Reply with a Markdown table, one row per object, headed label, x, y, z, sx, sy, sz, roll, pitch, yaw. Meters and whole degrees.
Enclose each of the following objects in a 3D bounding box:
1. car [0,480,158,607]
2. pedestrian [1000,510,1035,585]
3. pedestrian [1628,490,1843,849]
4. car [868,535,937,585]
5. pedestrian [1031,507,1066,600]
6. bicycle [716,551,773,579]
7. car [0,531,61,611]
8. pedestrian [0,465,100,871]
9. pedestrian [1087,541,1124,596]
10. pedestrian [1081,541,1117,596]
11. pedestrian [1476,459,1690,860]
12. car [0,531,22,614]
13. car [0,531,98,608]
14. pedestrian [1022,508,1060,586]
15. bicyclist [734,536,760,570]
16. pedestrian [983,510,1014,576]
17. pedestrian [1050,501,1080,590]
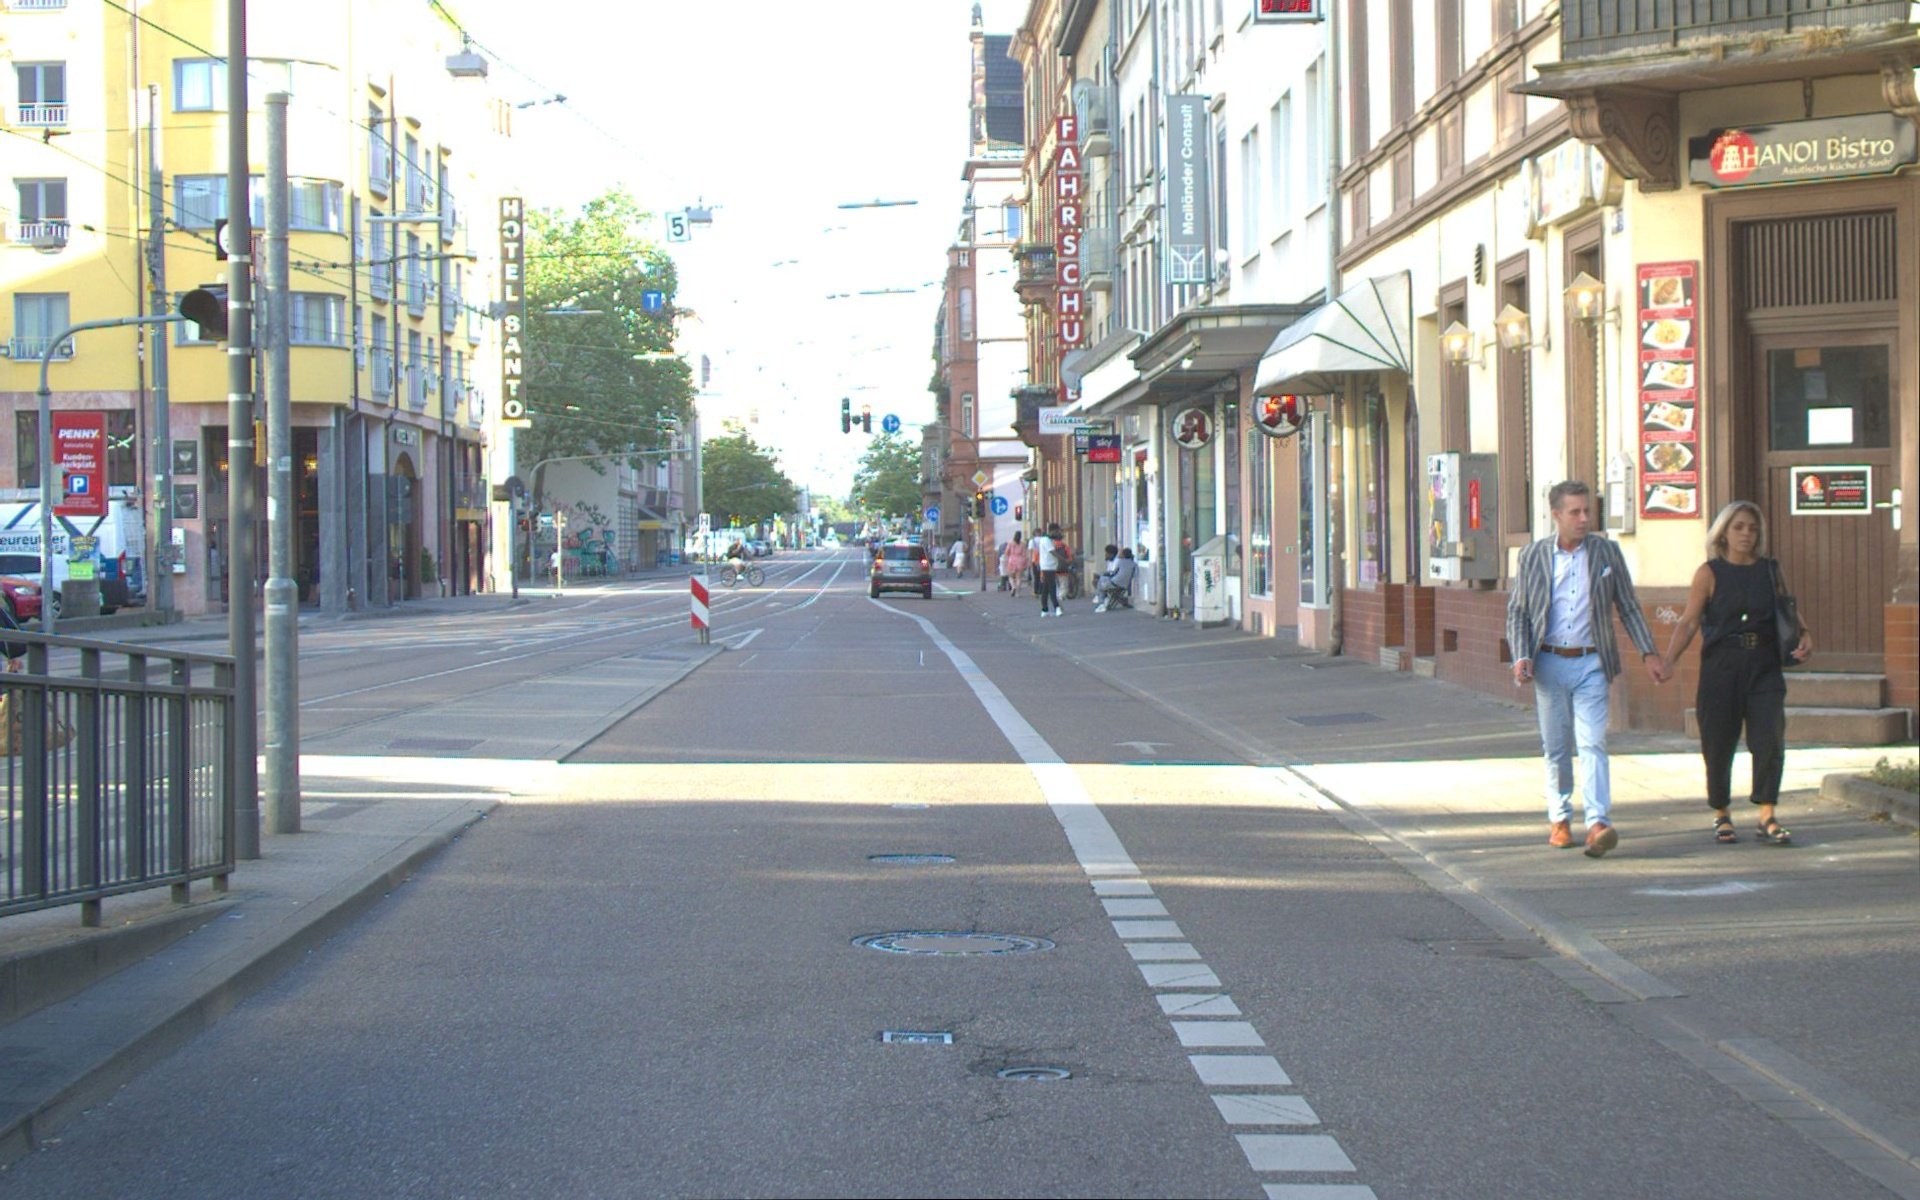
| label | x | y | z | sx | sy | sz | roll | pitch | yaw |
| --- | --- | --- | --- | --- | --- | --- | --- | --- | --- |
| car | -19.277 | -1.169 | 70.593 | 5.105 | 2.567 | 2.128 | 0 | 1 | 0 |
| pedestrian | 1.477 | -1.360 | 89.043 | 0.843 | 1.911 | 0.662 | -1 | 1 | -3 |
| pedestrian | 3.616 | 0.305 | 16.074 | 0.713 | 1.597 | 0.773 | -3 | 2 | -4 |
| car | -1.705 | -1.188 | 101.354 | 1.993 | 1.444 | 4.000 | 0 | 1 | -2 |
| pedestrian | 1.716 | -0.900 | 66.422 | 0.648 | 1.790 | 0.561 | -1 | 1 | 3 |
| bicycle | -7.929 | -1.284 | 126.547 | 1.935 | 1.000 | 0.753 | -1 | 1 | 17 |
| car | -19.358 | -0.567 | 65.491 | 3.987 | 1.505 | 1.800 | 0 | 1 | 0 |
| pedestrian | -4.267 | 0.269 | 14.940 | 0.869 | 1.708 | 0.788 | 1 | 2 | -4 |
| pedestrian | 2.762 | -0.604 | 65.342 | 0.690 | 1.040 | 0.680 | -1 | 1 | 3 |
| pedestrian | 2.674 | -0.613 | 66.080 | 0.690 | 1.040 | 0.680 | -1 | 1 | 3 |
| pedestrian | 2.869 | 0.256 | 15.888 | 0.713 | 1.768 | 0.773 | -3 | 2 | -4 |
| car | -19.402 | -0.516 | 62.909 | 3.987 | 1.505 | 1.800 | 0 | 1 | 0 |
| car | -19.283 | -0.619 | 68.023 | 3.987 | 1.505 | 1.800 | 0 | 1 | 0 |
| pedestrian | 1.988 | -1.301 | 84.428 | 0.848 | 1.911 | 1.035 | -1 | 1 | -3 |
| bicyclist | -7.834 | -1.735 | 126.502 | 0.710 | 1.216 | 0.753 | -1 | 1 | 17 |
| pedestrian | 1.124 | -1.658 | 100.358 | 0.843 | 1.911 | 0.847 | -1 | 1 | -3 |
| pedestrian | 2.116 | -1.100 | 69.180 | 0.560 | 1.790 | 0.650 | 0 | 1 | 5 |
